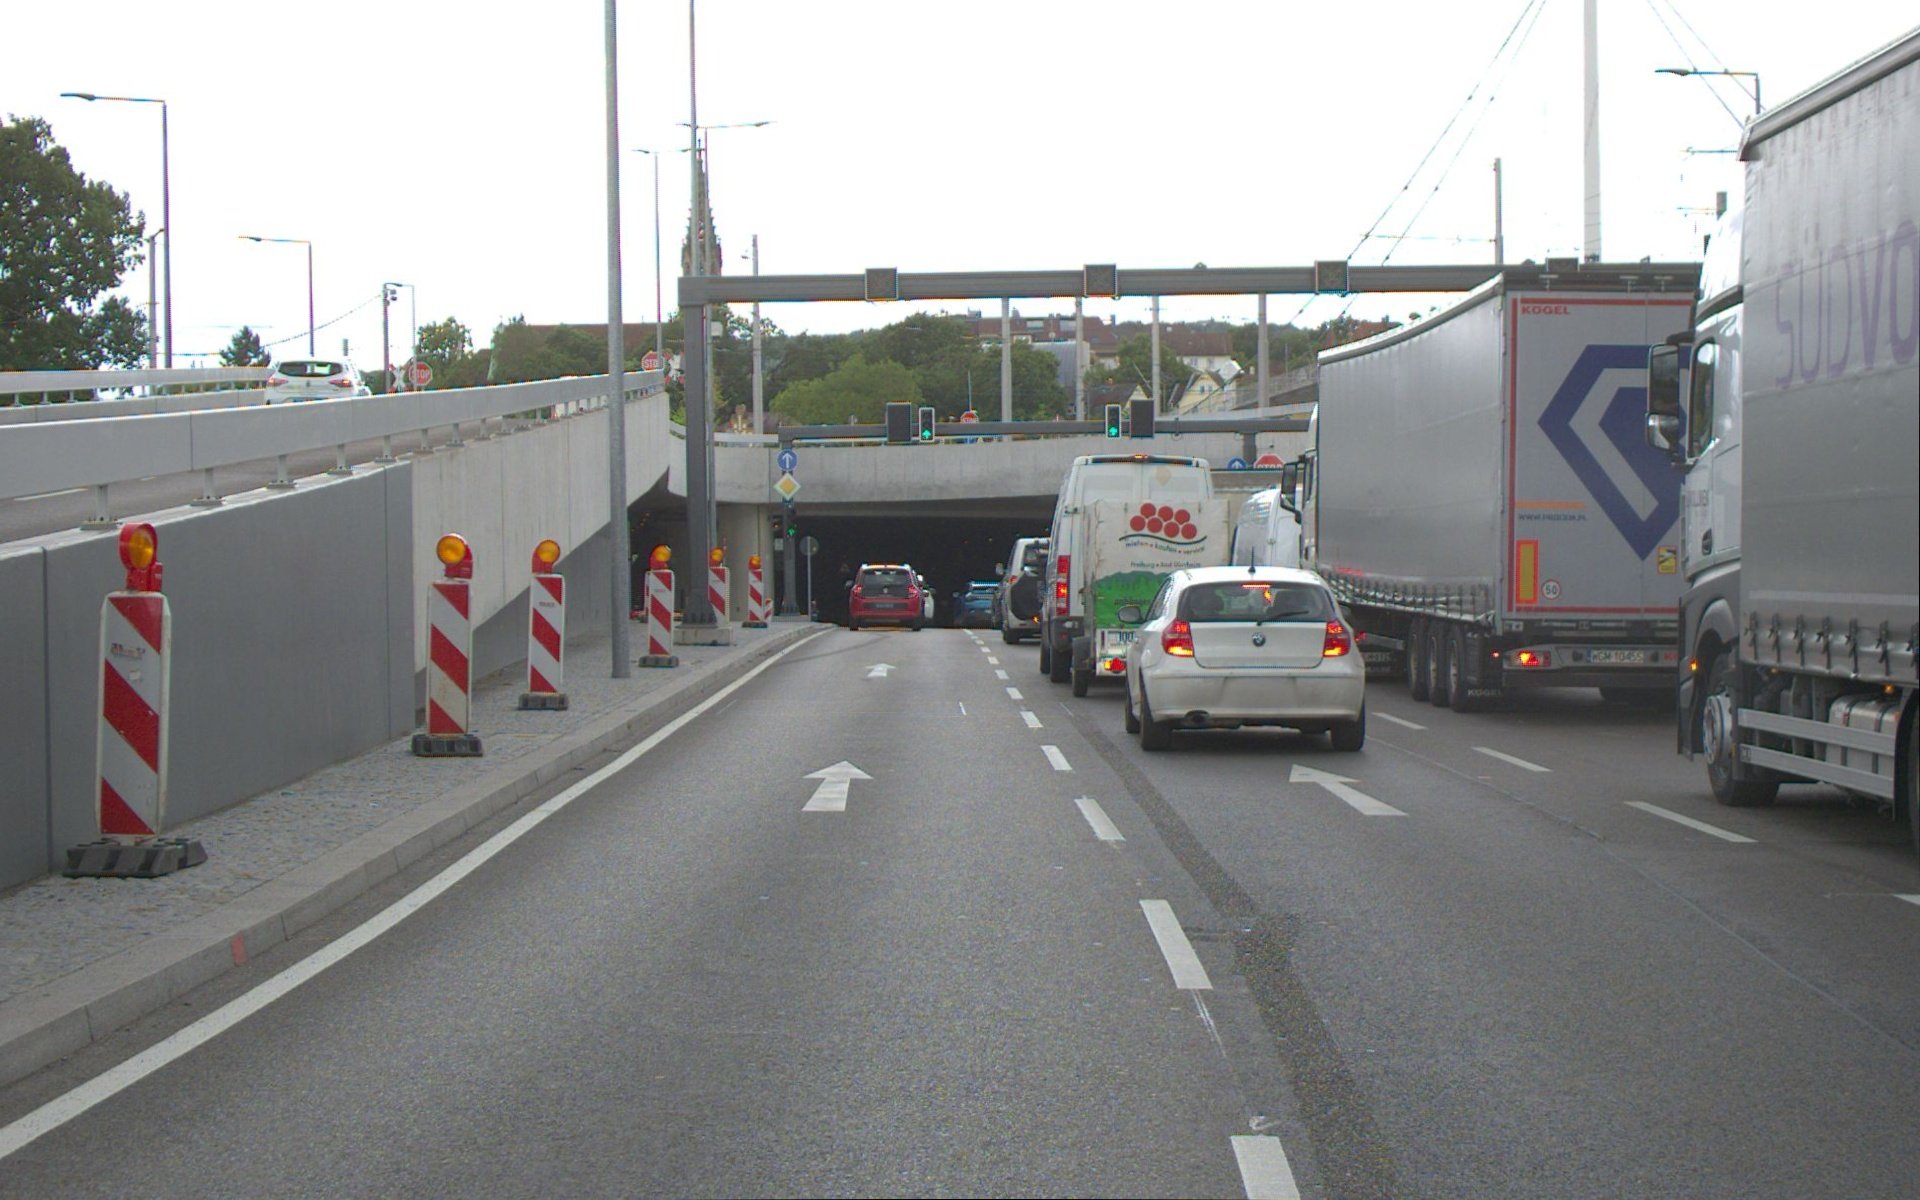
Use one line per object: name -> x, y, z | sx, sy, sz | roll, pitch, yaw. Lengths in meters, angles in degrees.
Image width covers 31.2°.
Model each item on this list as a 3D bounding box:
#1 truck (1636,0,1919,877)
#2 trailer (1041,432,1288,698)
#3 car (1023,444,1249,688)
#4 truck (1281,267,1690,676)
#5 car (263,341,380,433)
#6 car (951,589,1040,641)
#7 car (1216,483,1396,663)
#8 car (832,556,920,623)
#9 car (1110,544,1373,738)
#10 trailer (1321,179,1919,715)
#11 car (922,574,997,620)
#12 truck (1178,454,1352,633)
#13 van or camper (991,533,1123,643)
truck -> 6.330, -0.779, 17.428 | 3.724, 4.127, 10.983 | 1, 1, 1
trailer -> 2.165, -0.368, 37.823 | 2.103, 2.630, 4.810 | 3, 0, -2
car -> 2.023, -0.396, 41.471 | 2.058, 2.619, 5.943 | 3, 0, -2
truck -> 6.380, -1.528, 43.193 | 3.805, 4.615, 7.443 | 1, 1, -1
car -> -11.964, -3.980, 64.628 | 1.743, 1.428, 3.776 | 3, 0, -5
car -> 0.870, 0.394, 85.709 | 1.663, 1.243, 3.568 | 0, -1, -9
car -> 5.591, -0.487, 56.500 | 2.075, 2.763, 7.327 | 0, 1, -1
car -> -1.966, -0.226, 79.633 | 1.660, 1.483, 3.567 | 0, -1, -7
car -> 2.207, 0.291, 27.943 | 1.716, 1.393, 4.347 | 2, 0, 0
trailer -> 6.461, -1.425, 36.218 | 3.805, 4.615, 12.115 | 1, 1, -1
car -> -0.035, -0.113, 109.913 | 1.993, 1.382, 4.001 | 0, 1, -6
truck -> 5.678, -1.025, 65.092 | 2.649, 3.174, 7.426 | -1, 0, 0
van or camper -> 1.663, -0.226, 60.838 | 1.993, 1.839, 5.508 | 1, 0, -2
